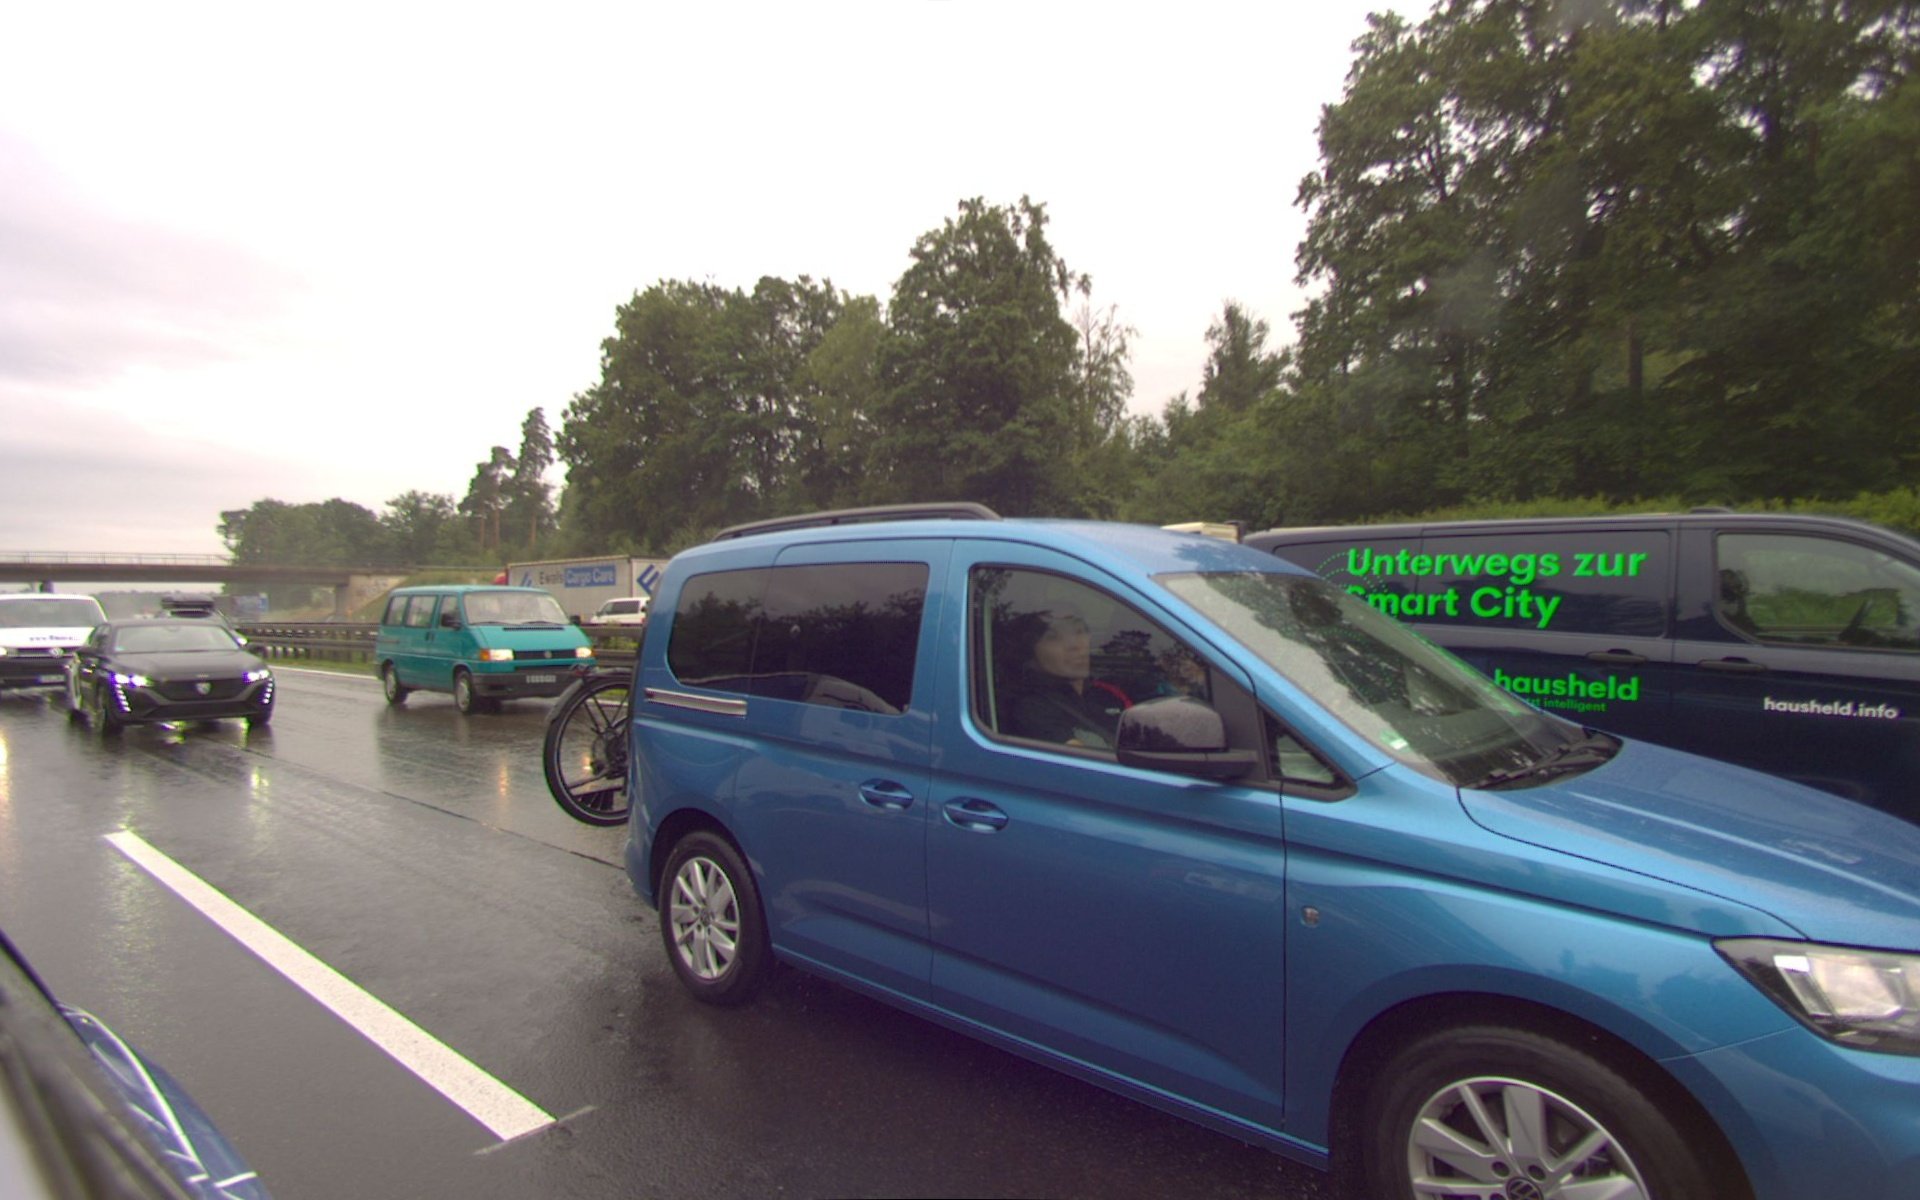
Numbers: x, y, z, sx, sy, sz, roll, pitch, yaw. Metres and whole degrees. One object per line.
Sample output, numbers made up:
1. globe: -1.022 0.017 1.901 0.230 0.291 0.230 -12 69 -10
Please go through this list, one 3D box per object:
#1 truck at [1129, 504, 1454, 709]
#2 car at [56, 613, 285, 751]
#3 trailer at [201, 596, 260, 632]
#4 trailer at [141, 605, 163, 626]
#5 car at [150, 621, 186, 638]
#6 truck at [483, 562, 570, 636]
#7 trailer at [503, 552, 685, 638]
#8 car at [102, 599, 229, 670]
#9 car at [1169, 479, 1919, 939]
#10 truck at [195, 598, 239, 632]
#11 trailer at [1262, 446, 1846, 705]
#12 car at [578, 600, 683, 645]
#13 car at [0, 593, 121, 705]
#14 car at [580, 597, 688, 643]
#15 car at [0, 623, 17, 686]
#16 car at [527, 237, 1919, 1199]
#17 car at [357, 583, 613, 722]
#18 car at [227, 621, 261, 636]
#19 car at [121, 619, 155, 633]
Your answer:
1. truck: 7.241 0.182 22.724 6.534 3.984 2.352 -1 -2 41
2. car: -10.804 0.961 13.719 4.468 1.516 1.825 -1 0 44
3. trailer: -81.793 1.616 113.305 13.563 3.847 2.991 -1 -1 44
4. trailer: -147.838 2.847 185.125 2.650 3.847 9.017 0 -1 -42
5. car: -74.057 2.767 94.635 4.707 1.519 1.971 -2 -2 43
6. truck: -24.652 -0.002 57.522 4.889 3.984 2.675 -1 -2 42
7. trailer: -19.389 -0.099 52.758 13.957 3.984 2.690 -1 -2 42
8. car: -22.431 0.918 28.500 4.603 1.839 1.957 -1 0 41
9. car: 3.990 0.469 5.745 5.243 1.958 1.969 -1 0 43
10. truck: -86.592 1.716 117.924 6.264 3.847 2.987 -2 -1 43
11. trailer: 10.815 -0.302 19.572 9.418 3.984 2.352 -1 -2 41
12. car: -14.031 0.971 42.960 5.036 1.783 1.973 -2 -2 41
13. car: -17.580 0.885 19.271 4.768 1.894 1.968 -2 -1 44
14. car: -13.924 0.846 43.081 5.220 1.839 1.957 -1 0 41
15. car: -25.403 1.373 25.760 4.467 1.516 1.825 -1 -1 44
16. car: 0.673 0.464 3.688 5.014 1.926 2.245 -2 -1 42
17. car: -7.625 0.736 16.014 4.756 1.877 1.891 -1 0 41
18. car: -64.754 2.600 91.510 3.755 1.314 1.683 -2 -1 42
19. car: -89.429 2.820 110.102 4.703 1.519 1.973 -2 -2 40
